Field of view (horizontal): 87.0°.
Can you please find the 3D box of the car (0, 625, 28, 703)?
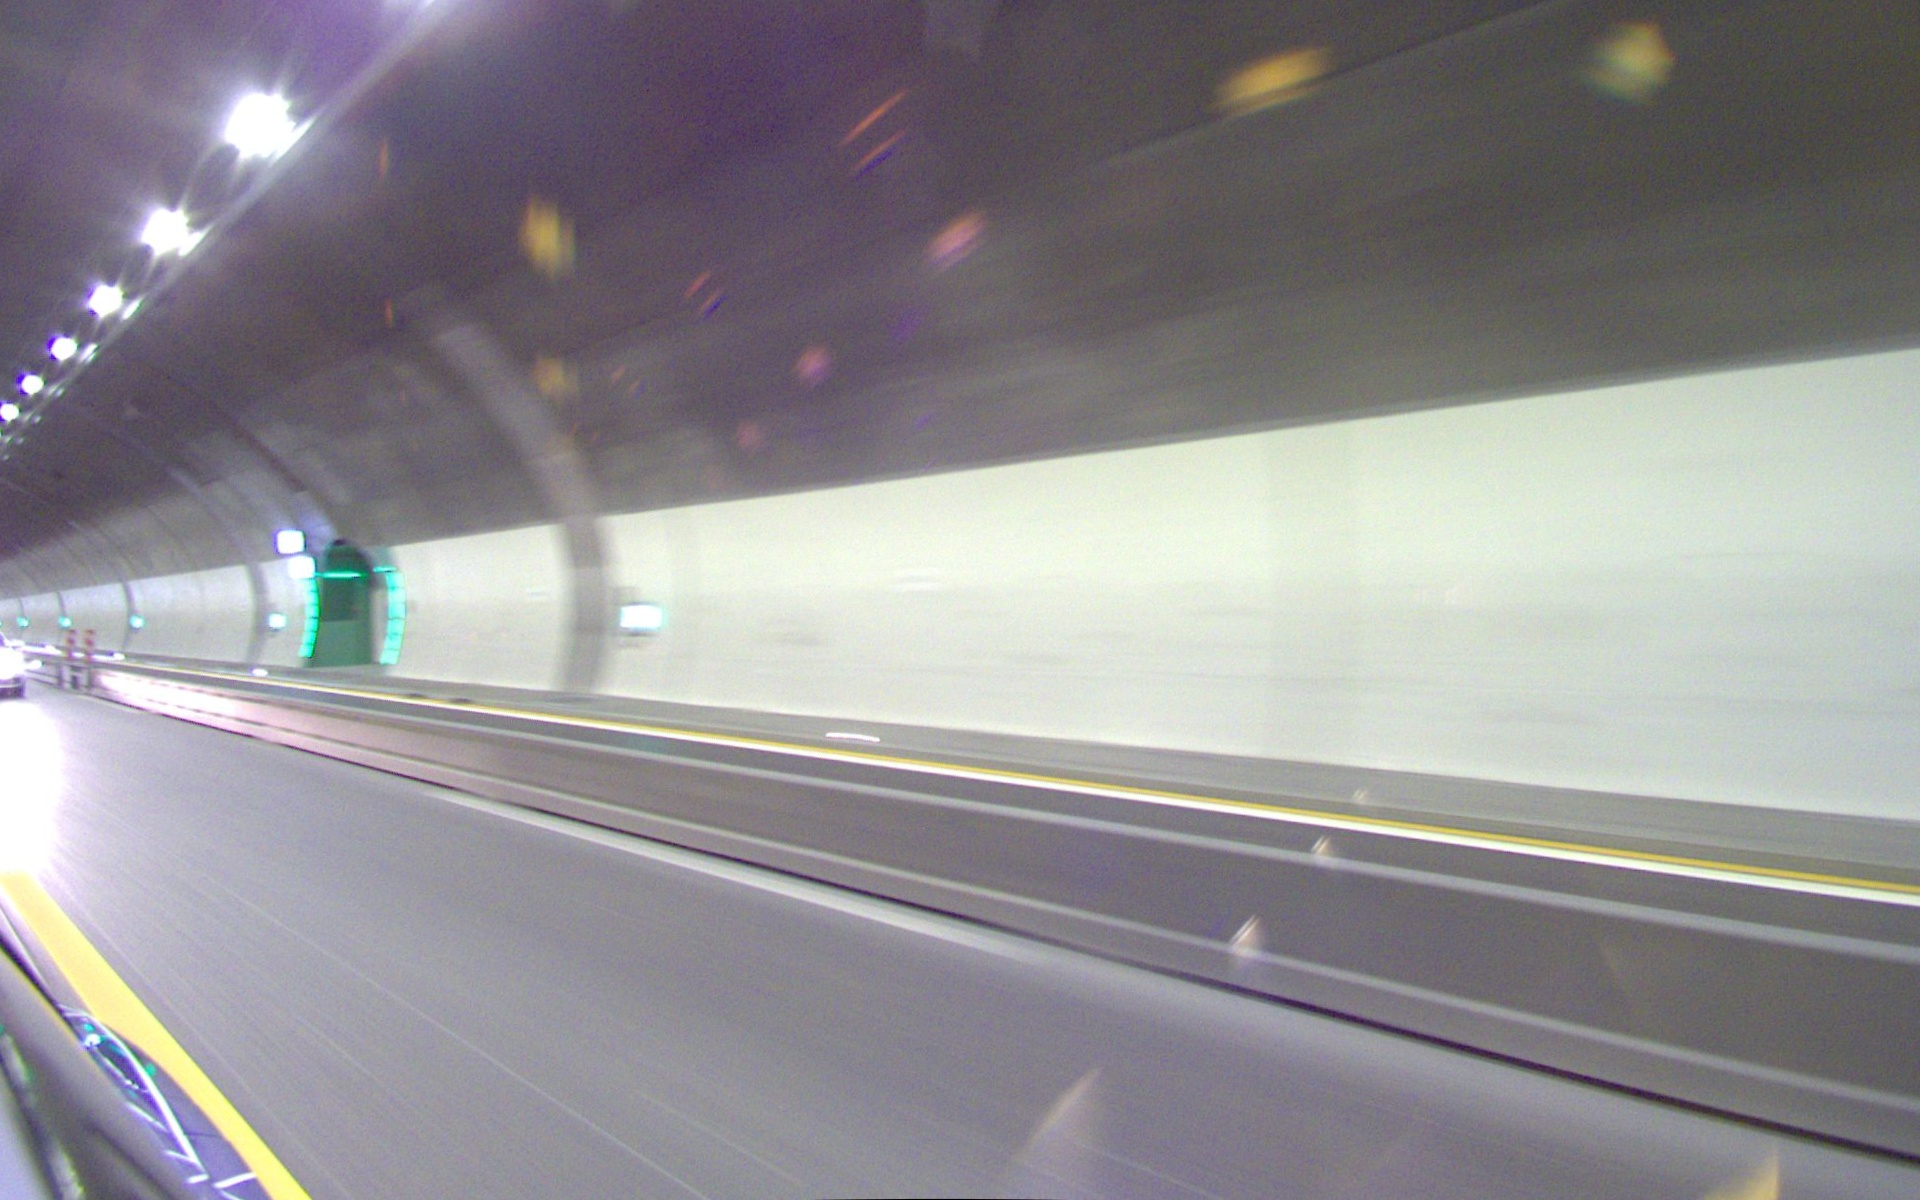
[{"bbox_3d":[-20.611,1.290,20.572,4.940,1.496,1.884,-2,-2,40],"label":"car"}]
